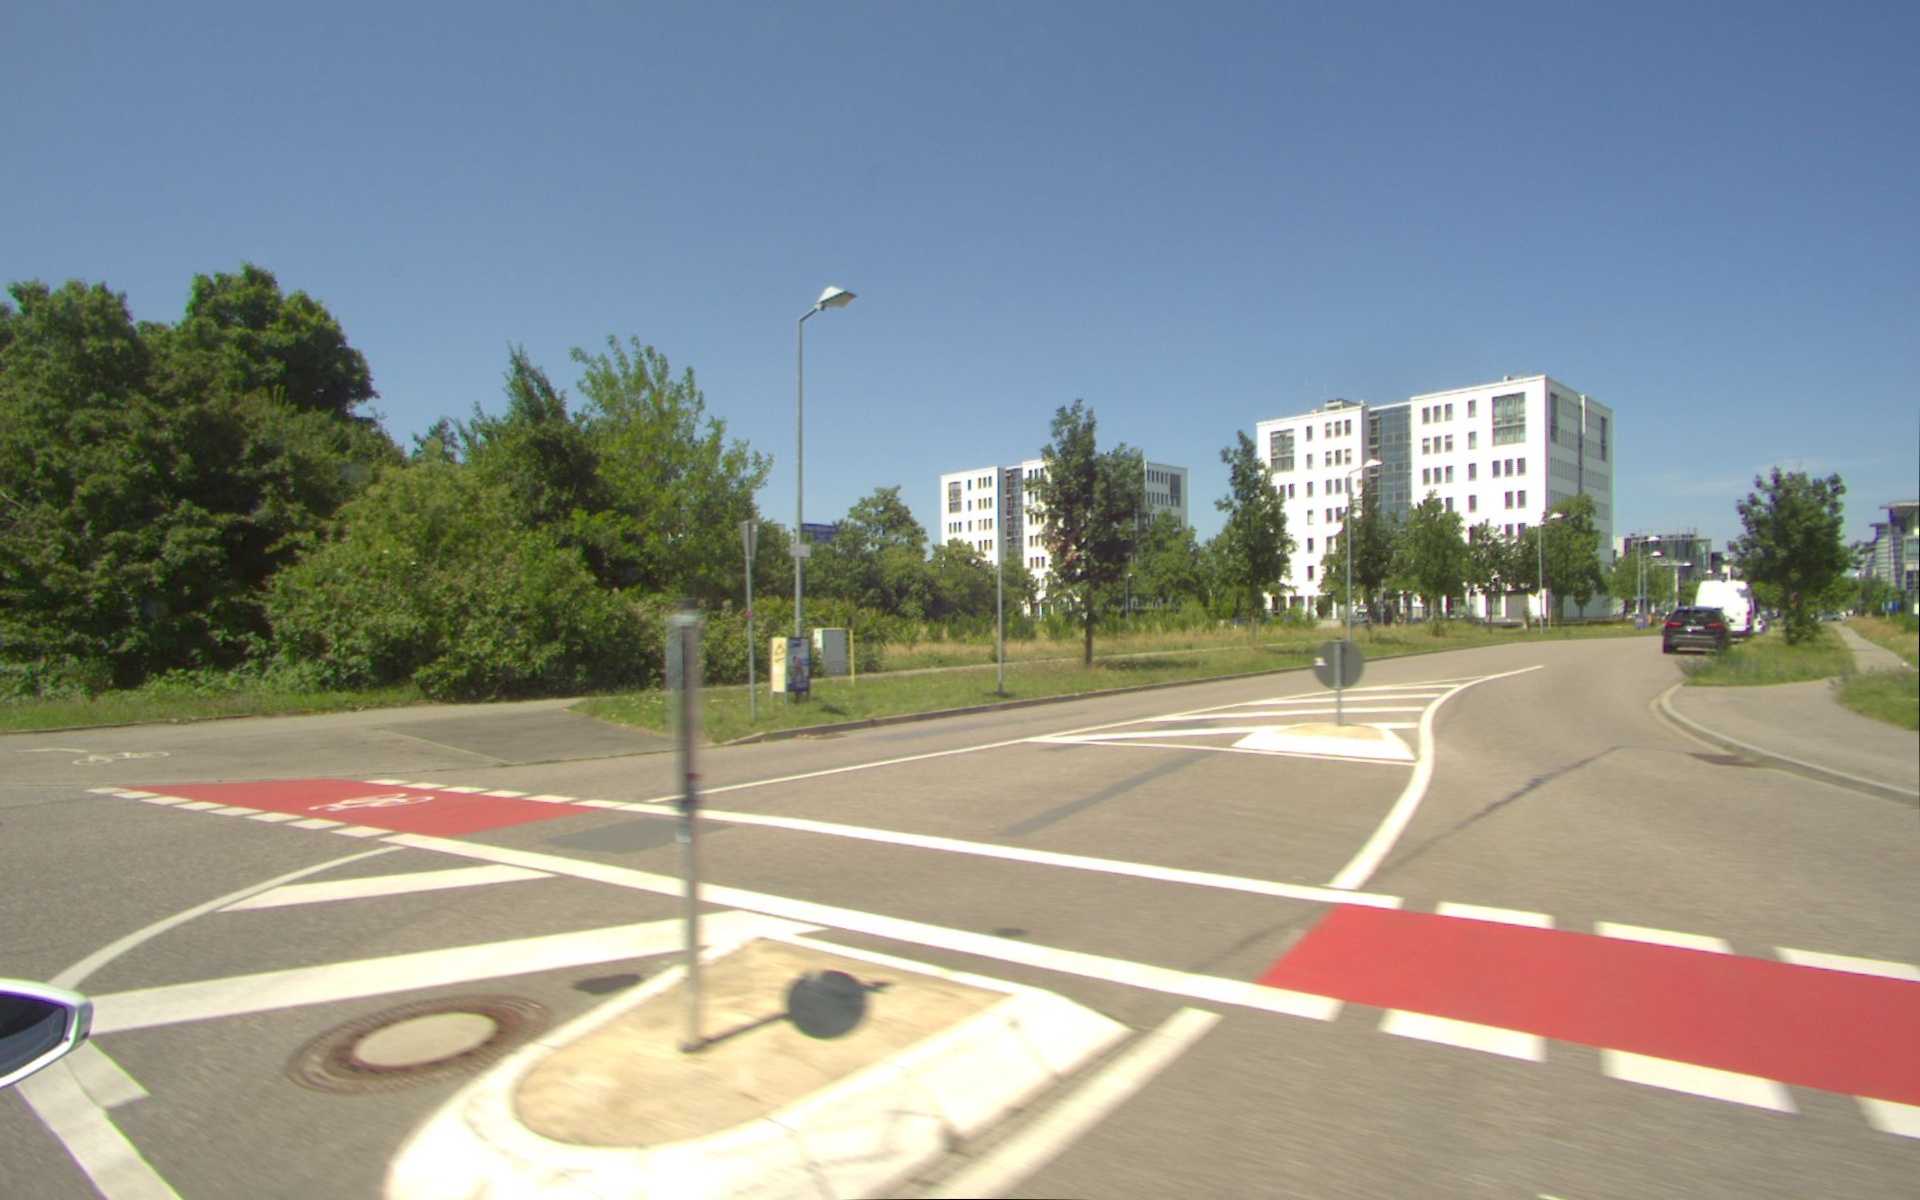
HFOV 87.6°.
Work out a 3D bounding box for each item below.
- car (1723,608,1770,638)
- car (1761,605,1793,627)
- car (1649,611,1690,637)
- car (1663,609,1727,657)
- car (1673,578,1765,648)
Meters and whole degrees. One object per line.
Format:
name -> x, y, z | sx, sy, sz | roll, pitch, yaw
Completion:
car -> 42.794, 1.274, 54.456 | 1.688, 1.552, 3.597 | -1, -3, 43
car -> 63.168, 1.260, 77.374 | 1.688, 1.552, 3.597 | -1, -3, 43
car -> 43.671, 1.499, 61.640 | 1.687, 1.552, 3.599 | -1, -3, 42
car -> 25.157, 1.143, 34.248 | 1.684, 1.552, 3.604 | -1, -3, 37
car -> 33.680, 0.648, 44.343 | 2.639, 2.837, 6.797 | -2, -3, 42
